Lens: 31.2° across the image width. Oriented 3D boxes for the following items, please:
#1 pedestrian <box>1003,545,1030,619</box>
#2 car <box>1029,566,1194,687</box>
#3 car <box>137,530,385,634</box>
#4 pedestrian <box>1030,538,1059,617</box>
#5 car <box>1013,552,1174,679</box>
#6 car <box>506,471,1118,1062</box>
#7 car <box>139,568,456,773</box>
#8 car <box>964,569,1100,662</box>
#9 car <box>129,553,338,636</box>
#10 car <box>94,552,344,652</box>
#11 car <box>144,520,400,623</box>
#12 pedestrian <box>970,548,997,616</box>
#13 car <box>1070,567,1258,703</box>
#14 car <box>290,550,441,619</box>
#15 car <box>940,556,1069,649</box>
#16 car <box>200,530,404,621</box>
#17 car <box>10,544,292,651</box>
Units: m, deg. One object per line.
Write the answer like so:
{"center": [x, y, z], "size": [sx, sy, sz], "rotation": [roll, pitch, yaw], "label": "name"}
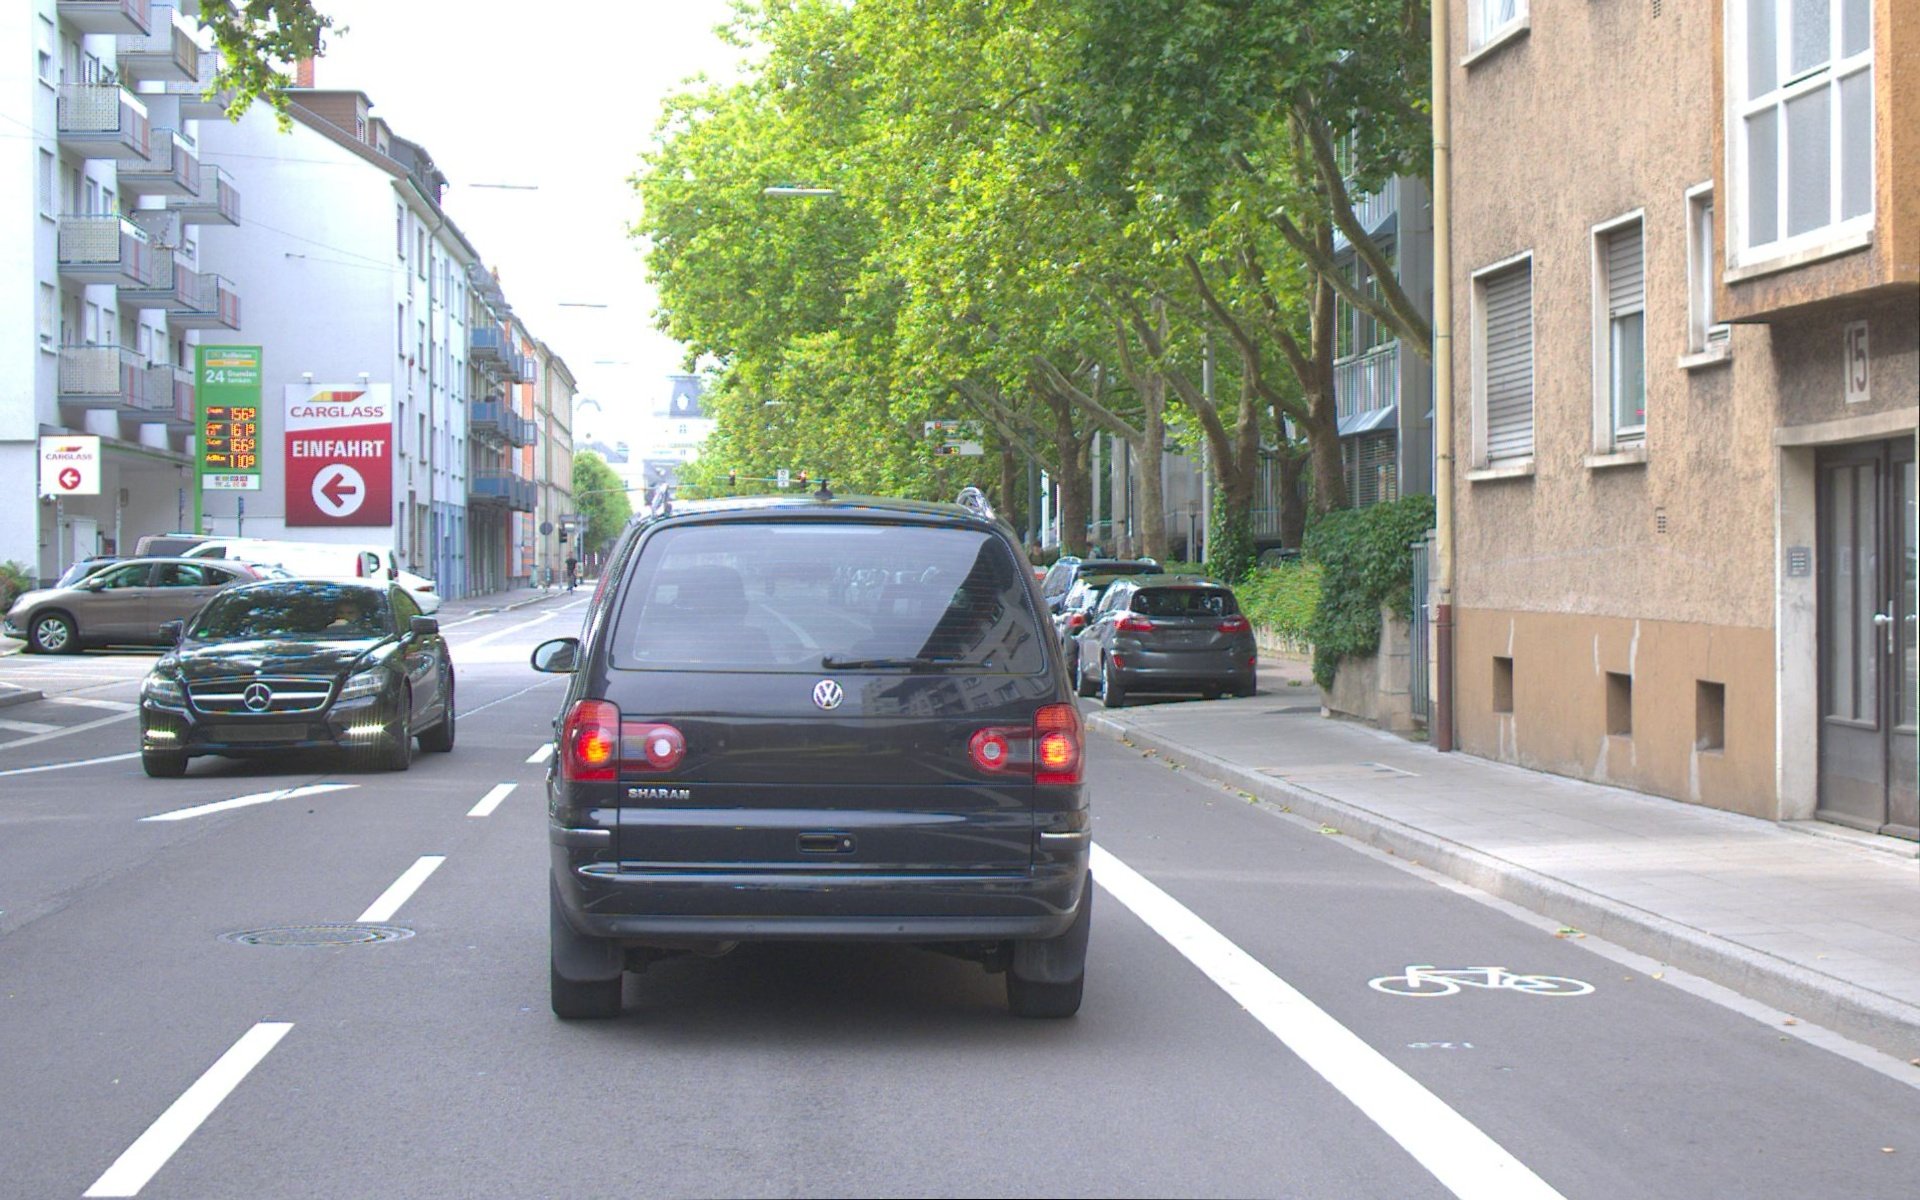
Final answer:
{"center": [1.433, -0.448, 86.792], "size": [0.587, 1.832, 0.692], "rotation": [2, 2, -3], "label": "pedestrian"}
{"center": [1.906, 0.303, 44.183], "size": [1.657, 1.417, 3.947], "rotation": [0, 1, -4], "label": "car"}
{"center": [-13.918, -0.364, 68.639], "size": [4.526, 1.872, 2.047], "rotation": [2, 0, -3], "label": "car"}
{"center": [2.126, -0.564, 86.715], "size": [0.642, 1.968, 0.692], "rotation": [2, 2, -3], "label": "pedestrian"}
{"center": [1.868, 0.180, 49.442], "size": [1.657, 1.645, 4.421], "rotation": [2, 1, -6], "label": "car"}
{"center": [-0.581, 0.461, 12.201], "size": [1.812, 1.760, 3.739], "rotation": [1, 1, -4], "label": "car"}
{"center": [-4.900, 0.465, 25.996], "size": [1.810, 1.403, 4.609], "rotation": [0, 1, -4], "label": "car"}
{"center": [1.095, 0.224, 54.167], "size": [1.675, 1.389, 4.462], "rotation": [0, 0, -5], "label": "car"}
{"center": [-13.940, -0.113, 66.079], "size": [3.681, 1.440, 1.754], "rotation": [2, 1, -4], "label": "car"}
{"center": [-12.860, 0.021, 59.832], "size": [3.940, 1.564, 1.753], "rotation": [2, 1, -1], "label": "car"}
{"center": [-14.194, -0.579, 71.163], "size": [4.915, 1.897, 2.000], "rotation": [2, 0, -4], "label": "car"}
{"center": [0.592, -0.451, 86.899], "size": [0.587, 1.696, 0.508], "rotation": [2, 2, -3], "label": "pedestrian"}
{"center": [2.294, 0.364, 39.506], "size": [1.657, 1.417, 3.867], "rotation": [0, 1, -4], "label": "car"}
{"center": [-13.861, -0.369, 80.281], "size": [3.342, 1.491, 1.596], "rotation": [2, 0, -5], "label": "car"}
{"center": [0.723, 0.023, 59.455], "size": [1.727, 1.511, 4.872], "rotation": [1, 0, -5], "label": "car"}
{"center": [-14.875, -0.550, 77.899], "size": [4.306, 1.863, 1.824], "rotation": [2, 0, -5], "label": "car"}
{"center": [-13.428, -0.052, 57.216], "size": [4.256, 1.600, 1.968], "rotation": [2, 2, -3], "label": "car"}
